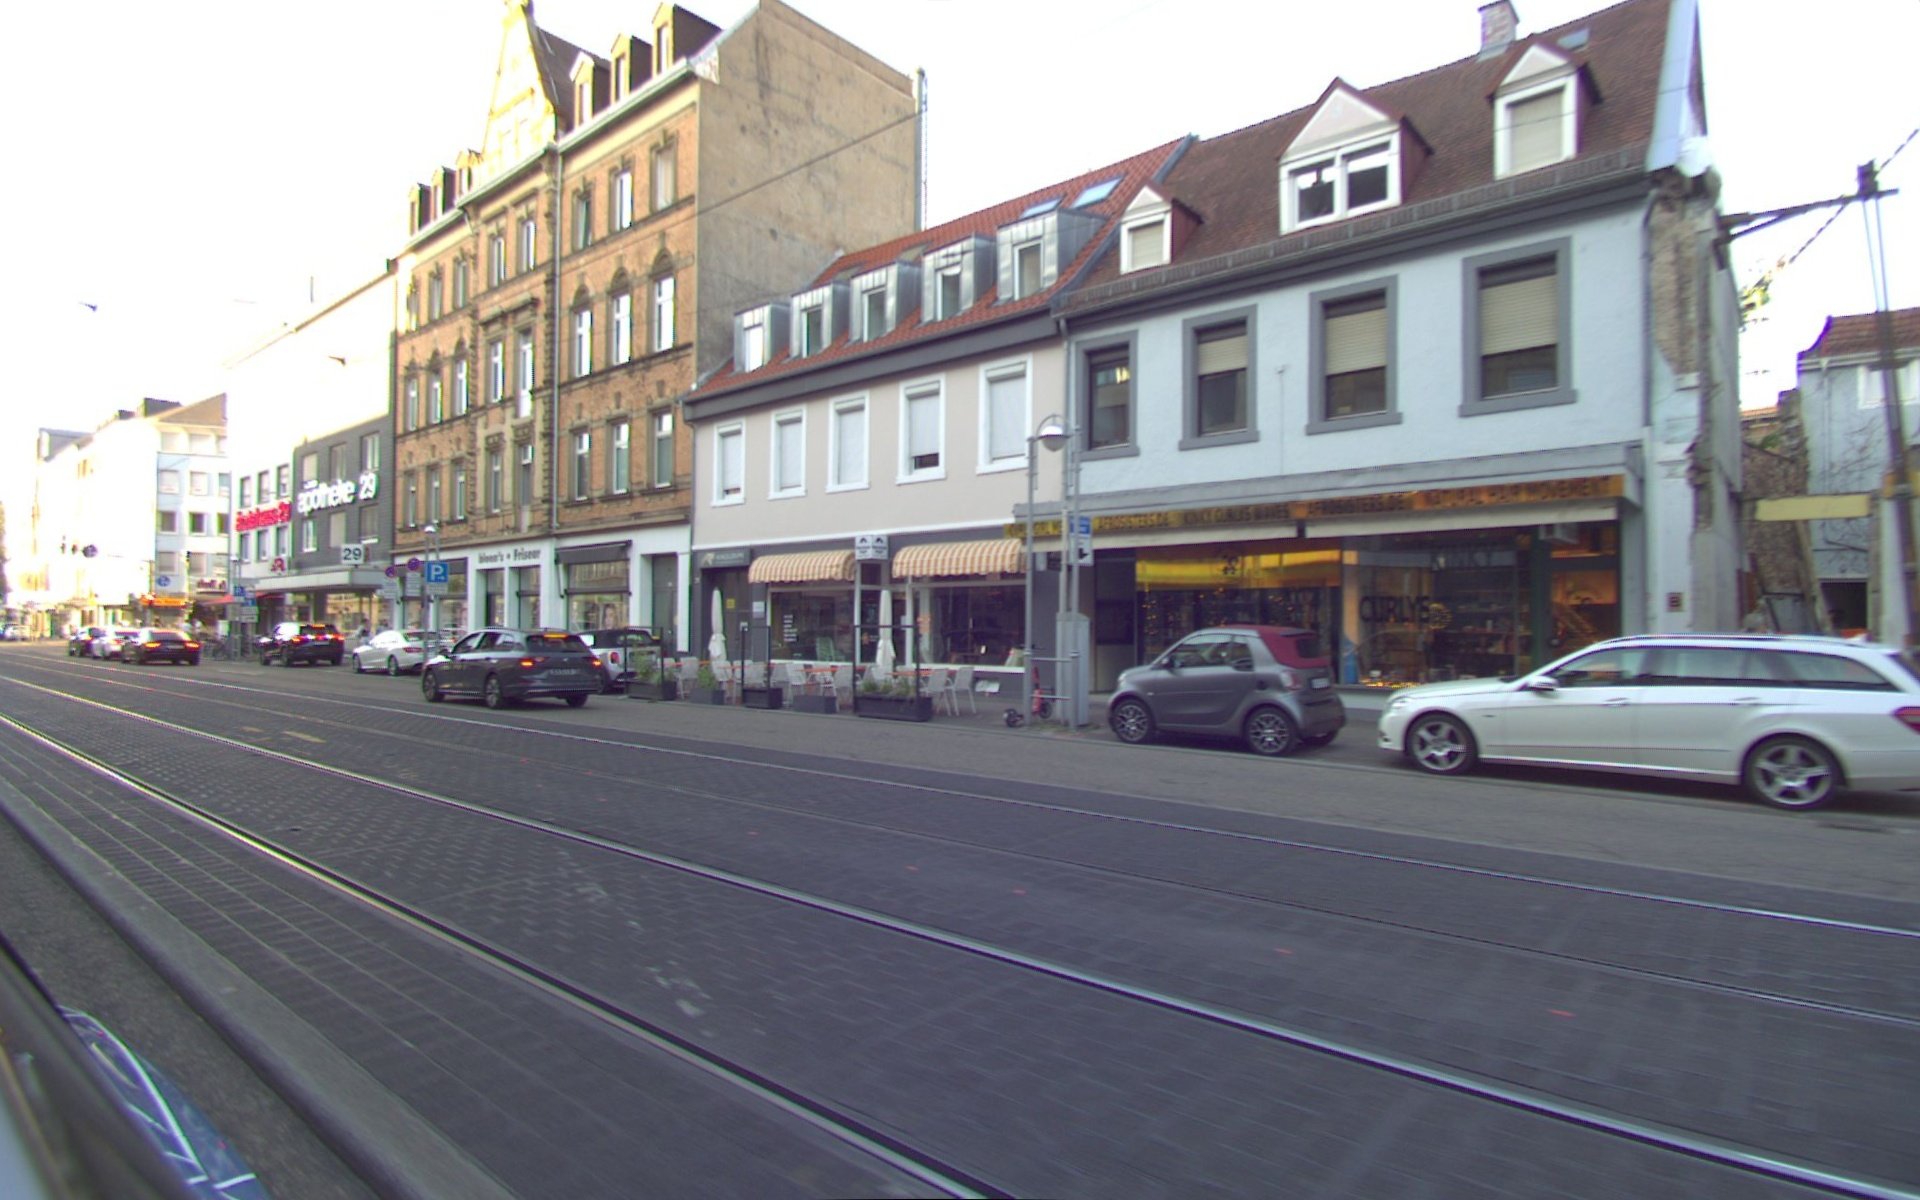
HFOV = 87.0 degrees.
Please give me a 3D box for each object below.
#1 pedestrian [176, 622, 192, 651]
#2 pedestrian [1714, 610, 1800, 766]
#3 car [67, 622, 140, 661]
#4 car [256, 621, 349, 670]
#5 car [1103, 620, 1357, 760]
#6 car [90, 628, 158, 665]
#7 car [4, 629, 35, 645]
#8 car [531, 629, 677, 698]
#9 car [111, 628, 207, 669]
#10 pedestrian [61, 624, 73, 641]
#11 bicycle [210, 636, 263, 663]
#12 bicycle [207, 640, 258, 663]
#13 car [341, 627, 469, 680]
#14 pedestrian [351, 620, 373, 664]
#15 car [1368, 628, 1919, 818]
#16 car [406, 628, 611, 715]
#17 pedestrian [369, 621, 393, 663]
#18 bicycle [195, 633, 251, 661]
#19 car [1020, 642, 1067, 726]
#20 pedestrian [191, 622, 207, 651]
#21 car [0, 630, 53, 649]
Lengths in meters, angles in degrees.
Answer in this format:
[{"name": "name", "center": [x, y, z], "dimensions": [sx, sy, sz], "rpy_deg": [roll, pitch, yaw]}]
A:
[{"name": "pedestrian", "center": [-48.035, 2.262, 62.666], "dimensions": [0.668, 1.758, 0.630], "rpy_deg": [-1, -2, 39]}, {"name": "pedestrian", "center": [8.845, 0.946, 11.229], "dimensions": [0.694, 1.656, 0.655], "rpy_deg": [-1, -2, 41]}, {"name": "car", "center": [-40.407, 1.946, 47.719], "dimensions": [4.726, 1.740, 1.972], "rpy_deg": [-1, -4, 42]}, {"name": "car", "center": [-24.729, 1.684, 38.002], "dimensions": [4.646, 1.687, 1.909], "rpy_deg": [-2, -1, 43]}, {"name": "car", "center": [3.409, 1.060, 12.932], "dimensions": [2.792, 1.589, 1.462], "rpy_deg": [-1, -2, 39]}, {"name": "car", "center": [-36.251, 1.982, 43.841], "dimensions": [1.969, 1.464, 4.661], "rpy_deg": [4, -4, -43]}, {"name": "car", "center": [-80.159, 3.173, 86.253], "dimensions": [3.387, 1.263, 1.615], "rpy_deg": [-2, 0, 41]}, {"name": "car", "center": [-8.399, 1.452, 23.726], "dimensions": [3.811, 1.451, 1.581], "rpy_deg": [-3, -2, 42]}, {"name": "car", "center": [-30.806, 1.845, 38.877], "dimensions": [4.645, 1.464, 1.973], "rpy_deg": [-1, -3, 40]}, {"name": "pedestrian", "center": [-77.973, 2.828, 88.402], "dimensions": [0.621, 1.483, 0.539], "rpy_deg": [-2, 1, 25]}, {"name": "bicycle", "center": [-32.004, 2.191, 44.773], "dimensions": [0.489, 1.055, 1.812], "rpy_deg": [-4, -1, 41]}, {"name": "bicycle", "center": [-32.487, 2.281, 45.227], "dimensions": [0.455, 0.919, 1.786], "rpy_deg": [-4, -1, 41]}, {"name": "car", "center": [-17.562, 1.632, 31.941], "dimensions": [4.603, 1.464, 1.851], "rpy_deg": [-1, 0, 38]}, {"name": "pedestrian", "center": [-23.533, 1.650, 39.829], "dimensions": [0.602, 1.712, 0.614], "rpy_deg": [-2, -2, 41]}, {"name": "car", "center": [6.887, 1.037, 10.112], "dimensions": [4.821, 1.464, 1.972], "rpy_deg": [-1, -1, 42]}, {"name": "car", "center": [-8.612, 1.275, 19.136], "dimensions": [4.460, 1.464, 1.675], "rpy_deg": [-1, -3, 39]}, {"name": "pedestrian", "center": [-23.011, 1.667, 40.232], "dimensions": [0.624, 1.673, 0.675], "rpy_deg": [-2, -2, 41]}, {"name": "bicycle", "center": [-34.879, 2.215, 47.922], "dimensions": [0.553, 1.233, 2.090], "rpy_deg": [-1, 0, 41]}, {"name": "car", "center": [1.283, 1.269, 15.542], "dimensions": [0.339, 1.244, 0.775], "rpy_deg": [-1, -2, 39]}, {"name": "pedestrian", "center": [-47.593, 2.257, 63.288], "dimensions": [0.600, 1.792, 0.630], "rpy_deg": [-1, -2, 40]}, {"name": "car", "center": [-66.653, 2.791, 71.546], "dimensions": [1.593, 1.344, 3.452], "rpy_deg": [-1, -2, 32]}]
